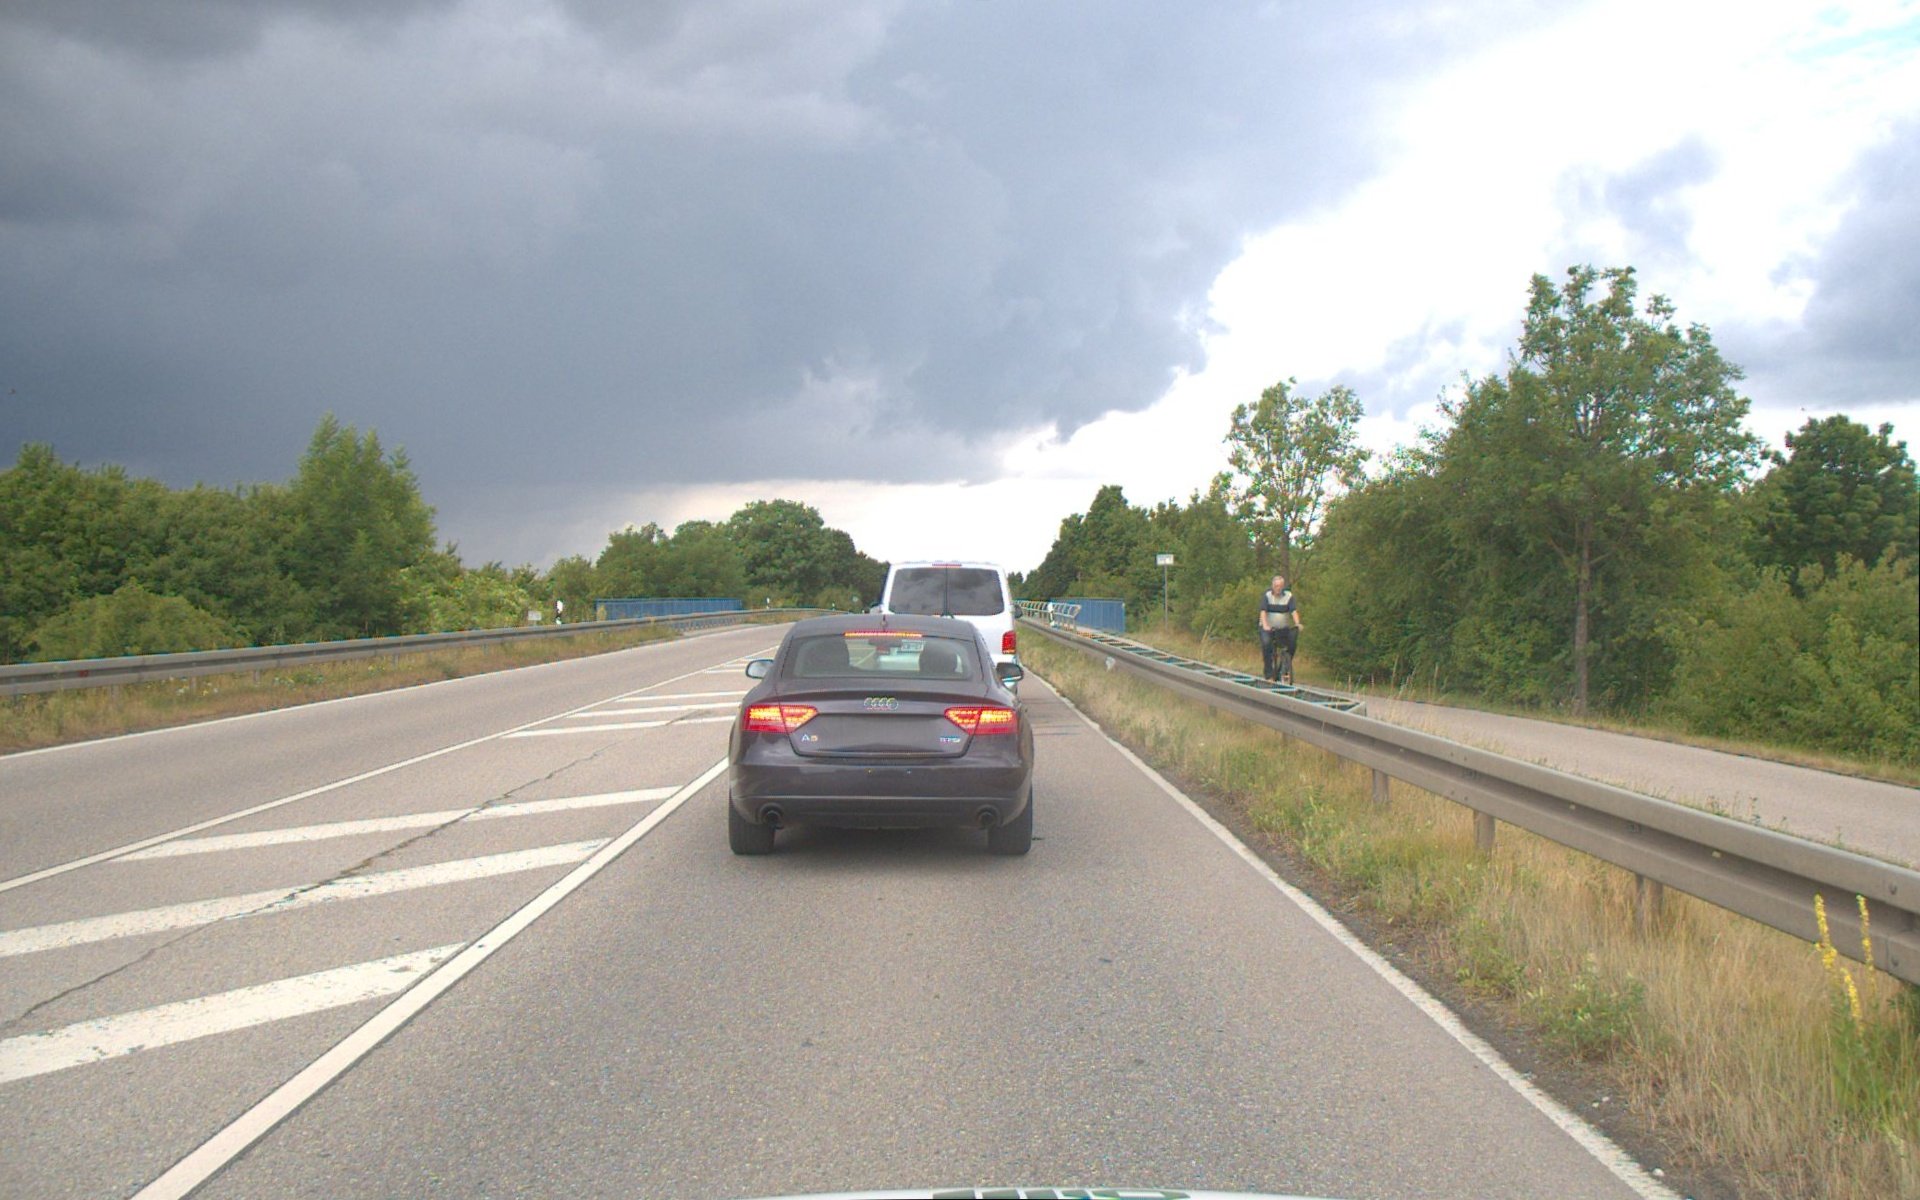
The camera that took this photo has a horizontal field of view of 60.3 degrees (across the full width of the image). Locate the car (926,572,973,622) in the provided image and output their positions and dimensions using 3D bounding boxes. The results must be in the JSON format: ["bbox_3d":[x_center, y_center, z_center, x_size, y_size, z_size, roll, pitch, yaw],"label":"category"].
[{"bbox_3d":[-0.555,-0.161,87.258,2.397,2.548,5.041,1,0,0],"label":"car"}]

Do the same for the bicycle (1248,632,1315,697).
[{"bbox_3d":[4.955,0.977,25.599,0.652,0.936,1.830,-1,0,-1],"label":"bicycle"}]

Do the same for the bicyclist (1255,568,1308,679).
[{"bbox_3d":[4.949,0.359,25.503,0.634,1.674,0.866,0,0,-1],"label":"bicyclist"}]

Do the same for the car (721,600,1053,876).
[{"bbox_3d":[-0.413,0.755,10.817,1.749,1.449,3.999,1,-1,-1],"label":"car"}]

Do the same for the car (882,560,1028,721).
[{"bbox_3d":[-0.085,0.508,22.057,1.749,1.923,3.999,1,-1,-1],"label":"car"}]
